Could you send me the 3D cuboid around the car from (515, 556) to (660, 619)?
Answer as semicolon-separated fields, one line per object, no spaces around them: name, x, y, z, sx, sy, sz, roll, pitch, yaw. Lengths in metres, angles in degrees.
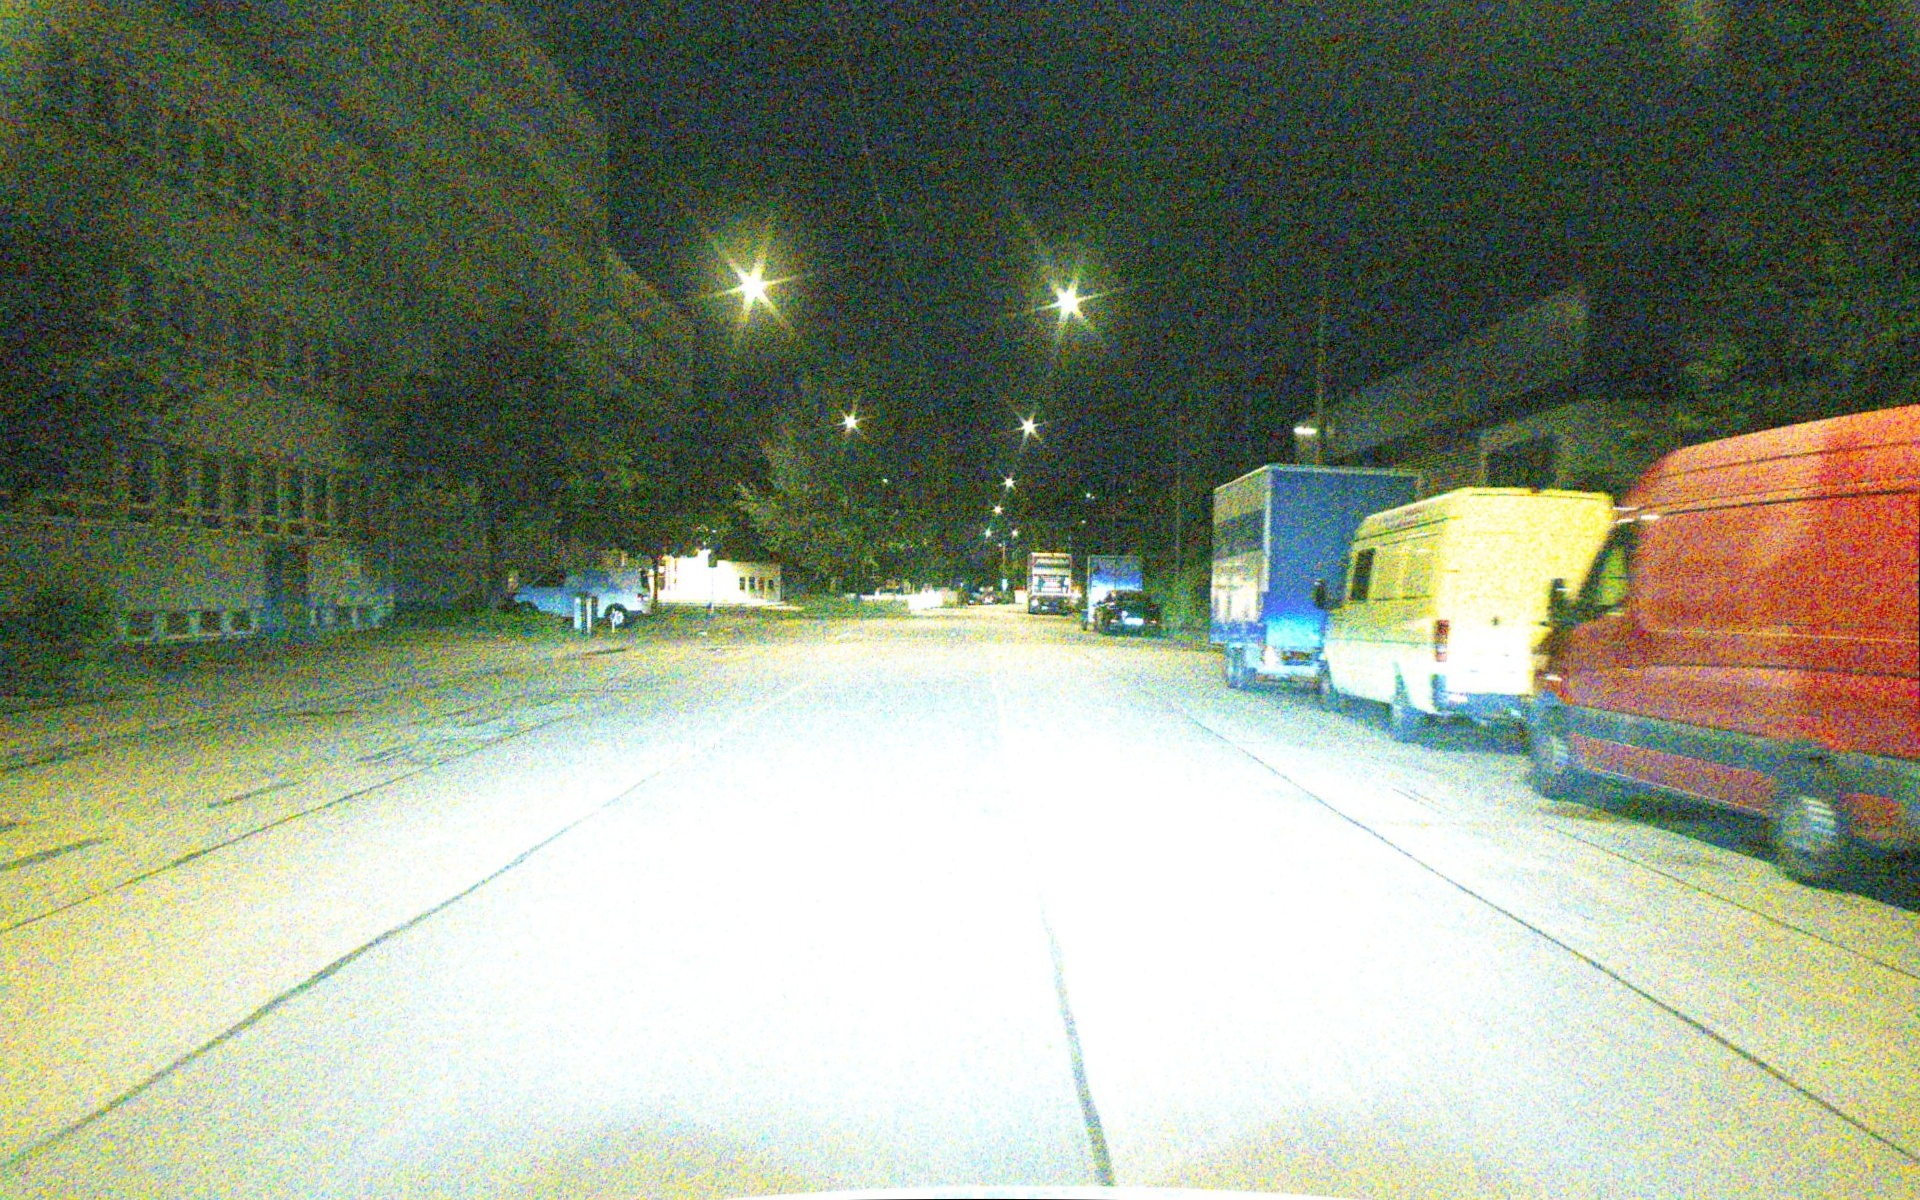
car;-12.415;-0.422;55.324;4.341;2.006;2.000;1;1;0

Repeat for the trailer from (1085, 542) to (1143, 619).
trailer;5.652;-0.734;61.157;1.952;2.697;4.002;1;1;3

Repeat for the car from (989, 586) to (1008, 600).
car;5.343;-0.997;230.773;1.684;1.853;4.002;1;-1;16

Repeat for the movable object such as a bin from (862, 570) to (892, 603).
movable object such as a bin;-6.360;-1.016;126.471;1.526;2.510;2.823;-1;0;-20

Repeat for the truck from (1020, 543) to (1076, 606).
truck;5.743;-1.640;109.637;3.256;3.936;9.328;1;0;0

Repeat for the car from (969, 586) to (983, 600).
car;2.001;-0.834;202.166;1.685;1.690;4.000;1;-1;1

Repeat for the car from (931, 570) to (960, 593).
car;-2.043;-2.693;238.984;2.465;3.226;7.143;-2;0;14

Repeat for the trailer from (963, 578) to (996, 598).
trailer;2.172;-1.342;187.298;1.540;2.198;5.176;-2;0;-26

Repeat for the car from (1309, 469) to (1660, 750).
car;5.584;0.031;18.714;1.901;2.592;6.647;1;1;1

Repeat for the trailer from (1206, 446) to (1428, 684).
trailer;5.456;-0.536;25.946;2.350;3.383;4.361;1;1;-2

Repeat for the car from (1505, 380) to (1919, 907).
car;5.632;0.173;10.858;1.953;2.592;6.024;1;1;-2

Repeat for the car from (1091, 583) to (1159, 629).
car;5.470;0.170;55.290;1.691;1.411;4.676;1;1;-1
